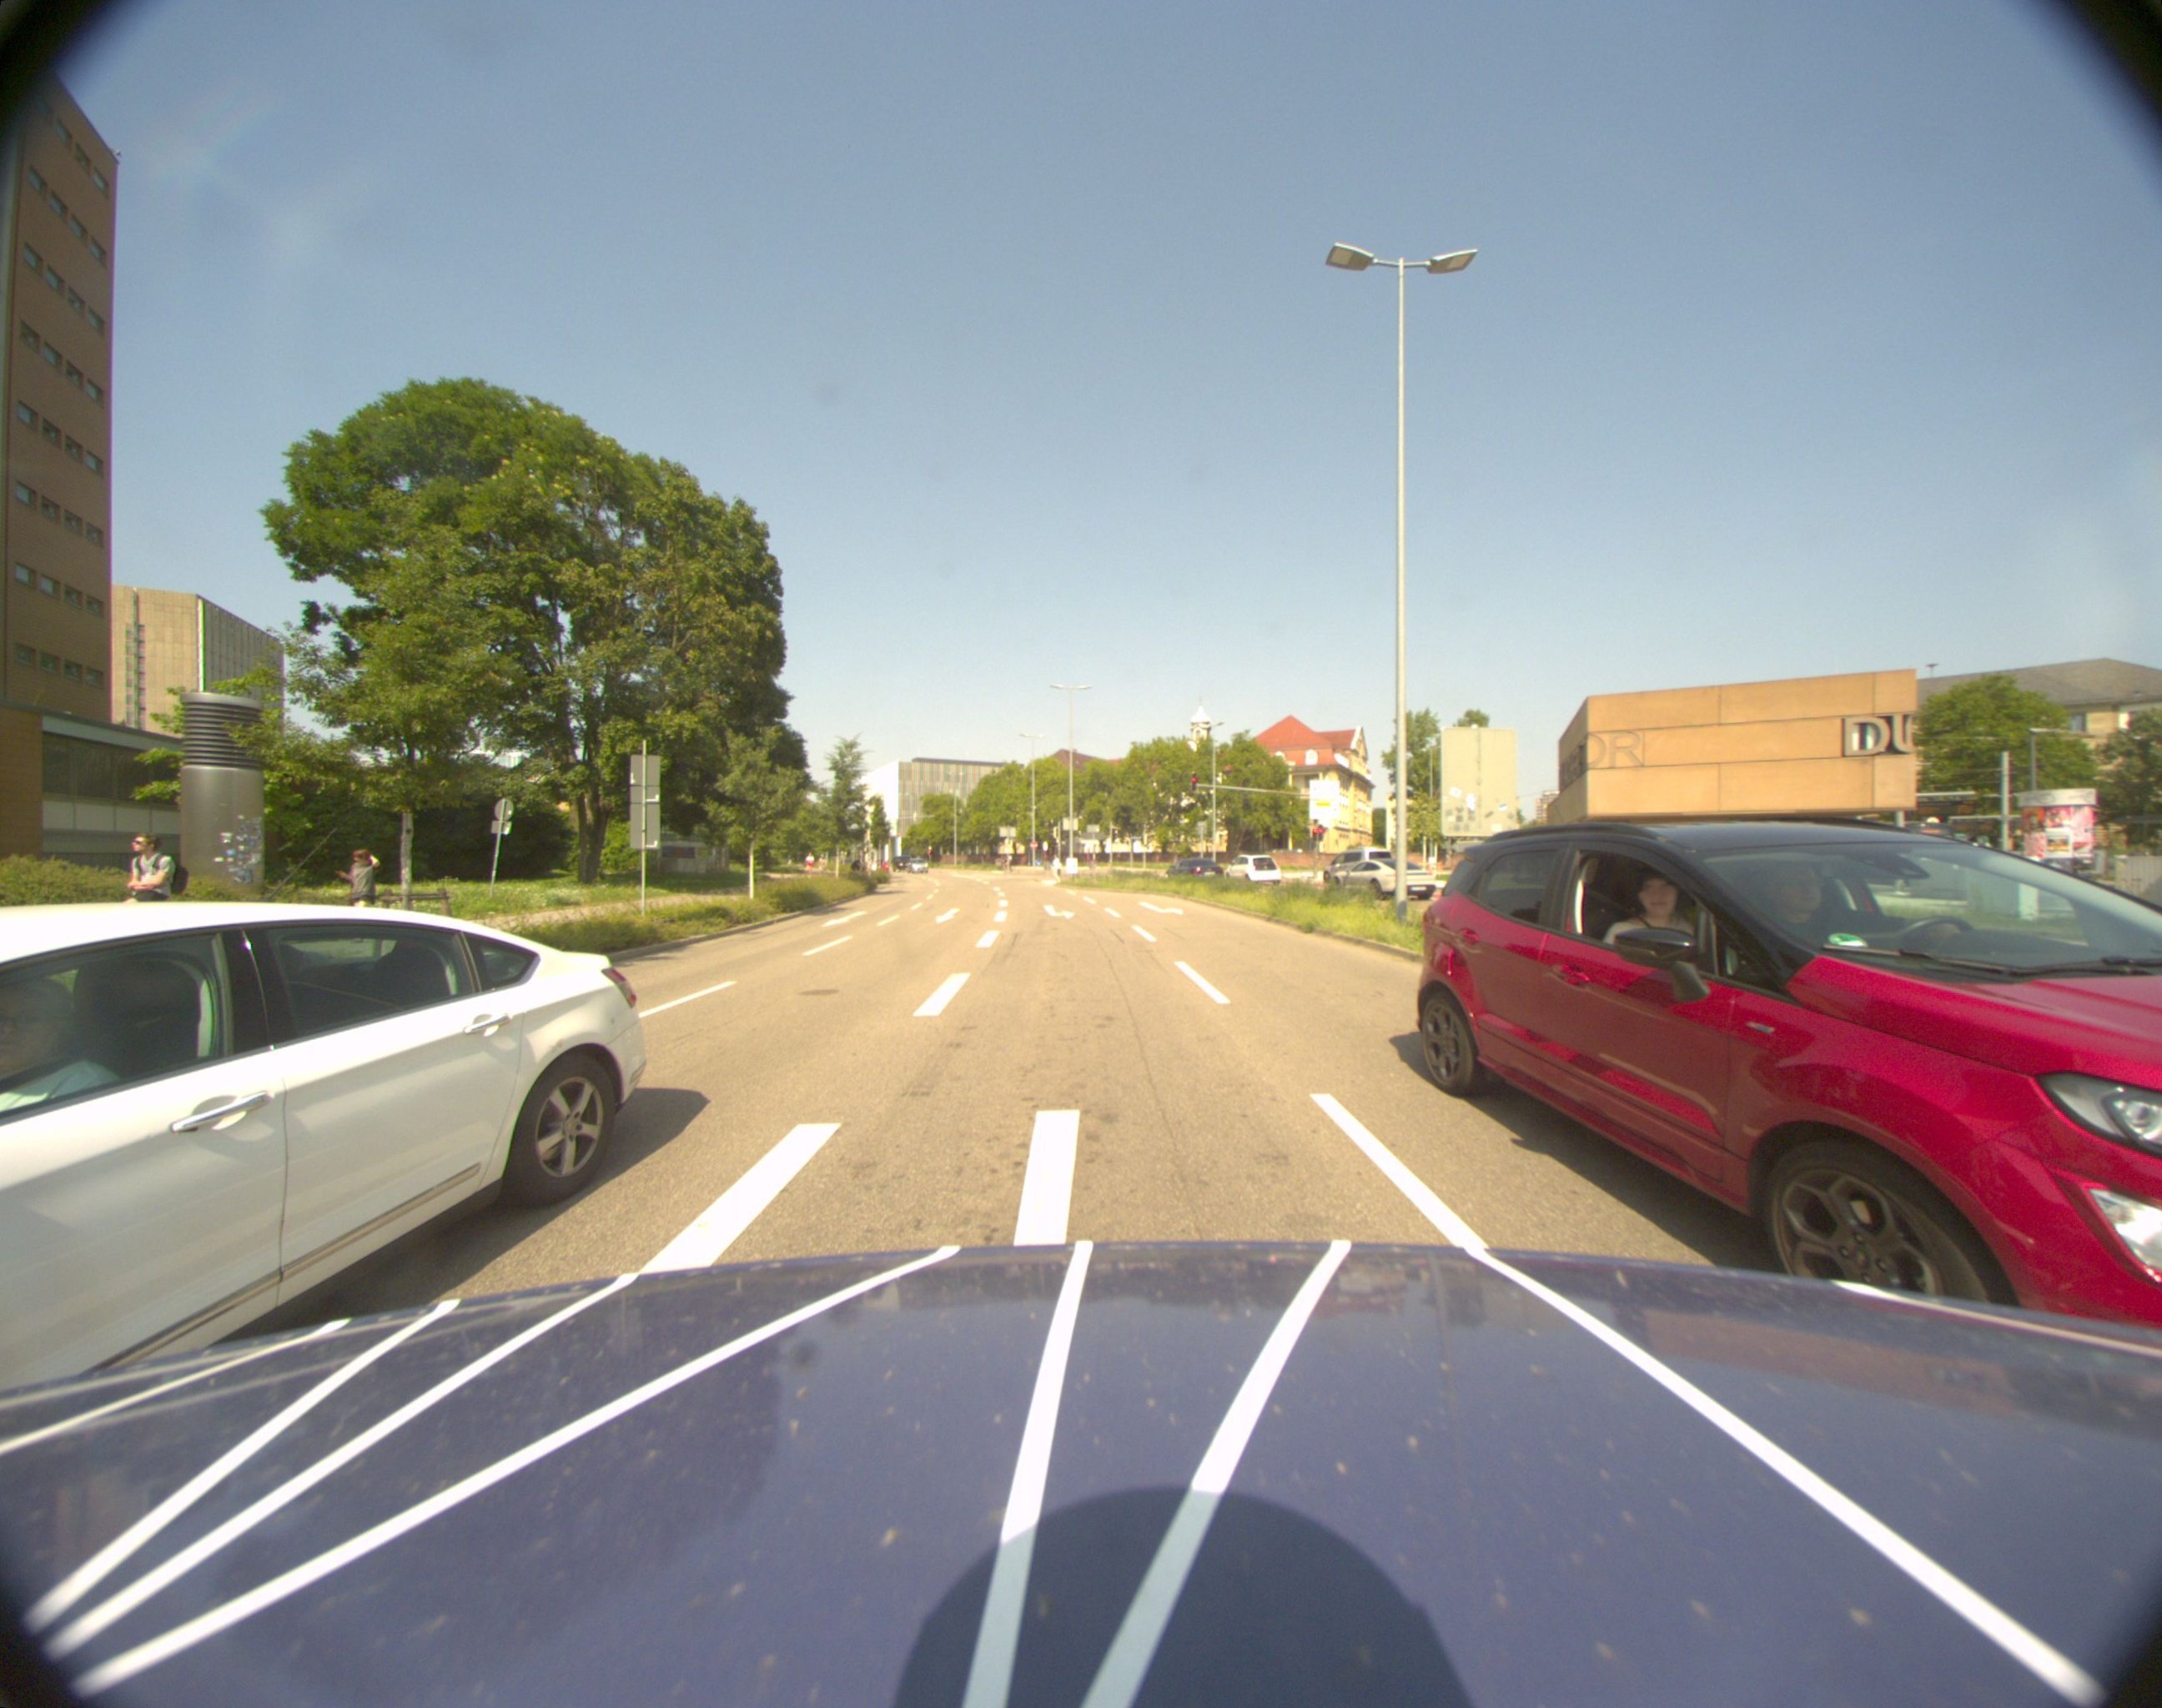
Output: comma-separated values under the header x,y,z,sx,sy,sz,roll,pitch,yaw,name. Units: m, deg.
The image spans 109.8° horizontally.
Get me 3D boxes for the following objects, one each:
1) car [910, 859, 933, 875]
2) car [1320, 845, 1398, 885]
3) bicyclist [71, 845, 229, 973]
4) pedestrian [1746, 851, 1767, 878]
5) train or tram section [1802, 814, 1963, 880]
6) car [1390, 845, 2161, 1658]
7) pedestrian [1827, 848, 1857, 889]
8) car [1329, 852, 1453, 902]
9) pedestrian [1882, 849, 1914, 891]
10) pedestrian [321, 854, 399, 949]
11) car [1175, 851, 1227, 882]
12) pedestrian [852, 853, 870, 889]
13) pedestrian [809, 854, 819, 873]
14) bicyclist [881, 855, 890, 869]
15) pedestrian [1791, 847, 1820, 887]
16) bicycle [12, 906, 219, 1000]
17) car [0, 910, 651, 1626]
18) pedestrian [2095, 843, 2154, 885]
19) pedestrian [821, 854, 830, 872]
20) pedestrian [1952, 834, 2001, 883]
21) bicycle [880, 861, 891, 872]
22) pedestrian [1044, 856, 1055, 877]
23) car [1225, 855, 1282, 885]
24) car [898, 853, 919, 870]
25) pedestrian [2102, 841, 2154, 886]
x,y,z,sx,sy,sz,roll,pitch,yaw,name
-17.169,1.385,81.772,1.661,1.521,4.525,-2,0,-22,car
13.721,0.501,37.737,1.869,1.843,3.911,0,1,-12,car
-12.202,0.687,10.001,0.904,1.596,0.924,0,1,-1,bicyclist
26.996,0.412,30.368,0.538,1.093,0.543,0,1,32,pedestrian
48.245,-0.387,46.406,2.698,3.418,13.446,0,0,28,train or tram section
2.949,0.783,3.134,1.694,1.577,3.844,-2,0,-1,car
27.942,0.542,27.894,0.539,1.488,0.541,0,1,-1,pedestrian
10.765,0.734,26.796,2.000,1.576,4.712,0,0,-7,car
28.827,0.559,26.809,0.539,1.488,0.541,0,1,-1,pedestrian
-13.276,0.855,14.011,0.672,1.689,0.805,0,0,-4,pedestrian
5.749,0.555,36.763,1.526,1.417,3.474,0,0,-8,car
-11.769,0.919,40.637,0.823,1.892,0.630,-1,1,-12,pedestrian
-19.246,0.692,54.751,0.635,1.291,0.486,-3,1,-19,pedestrian
-20.634,0.842,80.032,0.679,1.392,1.049,0,1,0,bicyclist
26.743,0.471,28.045,0.539,1.488,0.541,0,1,-1,pedestrian
-12.291,1.223,9.769,0.357,0.974,1.782,0,0,1,bicycle
-3.309,1.025,1.827,1.773,1.420,4.610,0,0,2,car
42.968,0.398,31.314,1.076,1.686,1.066,0,1,28,pedestrian
-18.536,0.657,55.100,0.577,1.291,0.436,-3,1,-21,pedestrian
27.672,0.133,23.489,0.771,1.488,0.606,0,1,-1,pedestrian
-20.652,1.334,80.207,0.594,1.162,2.235,0,0,-1,bicycle
-2.027,0.816,48.673,0.605,1.291,0.617,-2,1,-4,pedestrian
8.691,0.771,38.543,1.527,1.470,3.473,0,0,-12,car
-20.484,0.927,90.090,1.893,1.908,4.526,-2,0,-20,car
43.039,0.378,31.247,0.927,1.812,0.939,0,1,28,pedestrian
